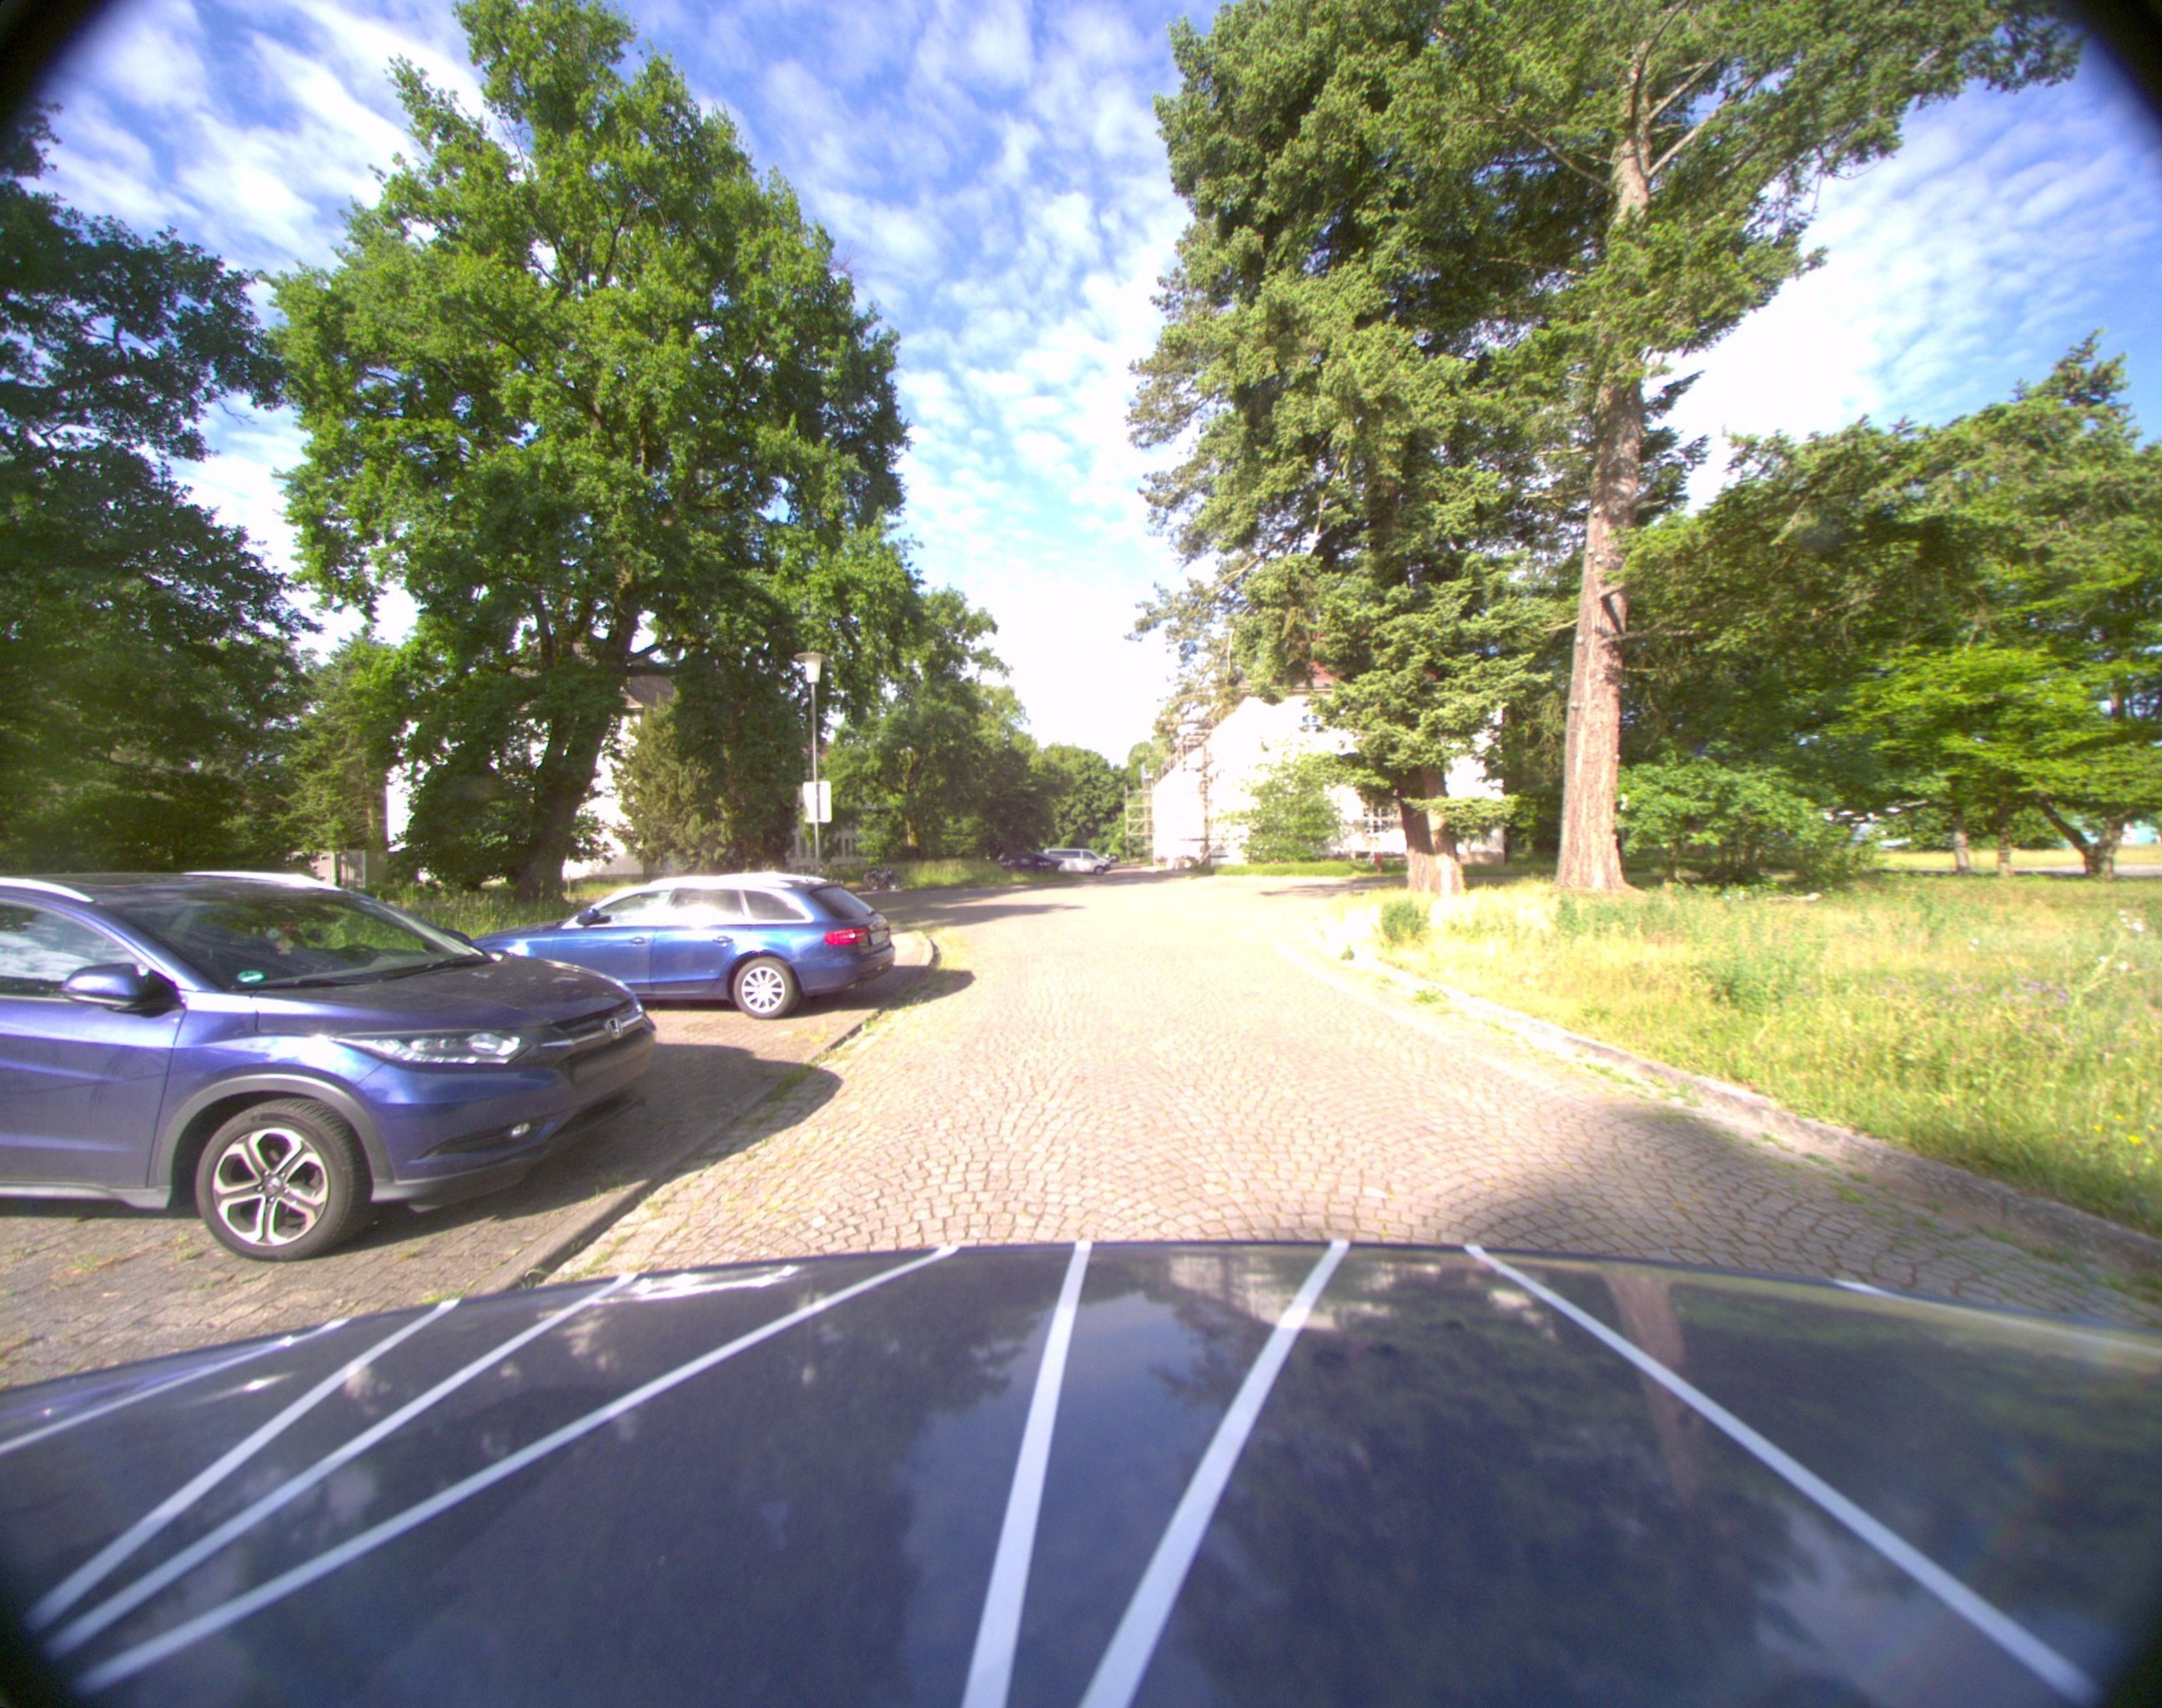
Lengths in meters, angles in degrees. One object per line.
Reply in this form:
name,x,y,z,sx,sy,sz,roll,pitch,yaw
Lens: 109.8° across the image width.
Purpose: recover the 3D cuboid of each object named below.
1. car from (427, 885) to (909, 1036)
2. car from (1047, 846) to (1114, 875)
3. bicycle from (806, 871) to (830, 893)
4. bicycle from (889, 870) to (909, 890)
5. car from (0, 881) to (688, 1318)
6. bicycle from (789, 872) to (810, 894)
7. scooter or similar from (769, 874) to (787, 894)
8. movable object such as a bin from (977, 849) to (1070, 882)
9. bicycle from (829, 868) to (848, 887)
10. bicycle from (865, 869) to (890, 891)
car,-4.358,1.092,8.454,4.459,1.399,1.714,0,1,3
car,-0.023,0.461,57.382,4.937,2.002,2.000,-1,0,0
bicycle,-13.087,1.393,37.786,0.710,1.010,1.028,-1,0,8
bicycle,-8.983,1.288,37.504,0.747,0.929,1.140,-1,0,-3
car,-4.537,1.009,3.798,4.187,1.581,1.751,-1,0,0
bicycle,-13.852,1.413,37.415,0.619,1.010,1.027,-1,0,3
scooter or similar,-14.622,1.430,36.668,0.769,0.924,0.261,-1,1,-6
movable object such as a bin,-3.335,0.672,44.345,4.931,1.749,2.002,-1,0,15
bicycle,-13.377,1.267,41.889,0.712,1.010,1.024,-2,1,-37
bicycle,-9.946,1.272,37.102,0.710,1.010,1.257,-1,0,8
